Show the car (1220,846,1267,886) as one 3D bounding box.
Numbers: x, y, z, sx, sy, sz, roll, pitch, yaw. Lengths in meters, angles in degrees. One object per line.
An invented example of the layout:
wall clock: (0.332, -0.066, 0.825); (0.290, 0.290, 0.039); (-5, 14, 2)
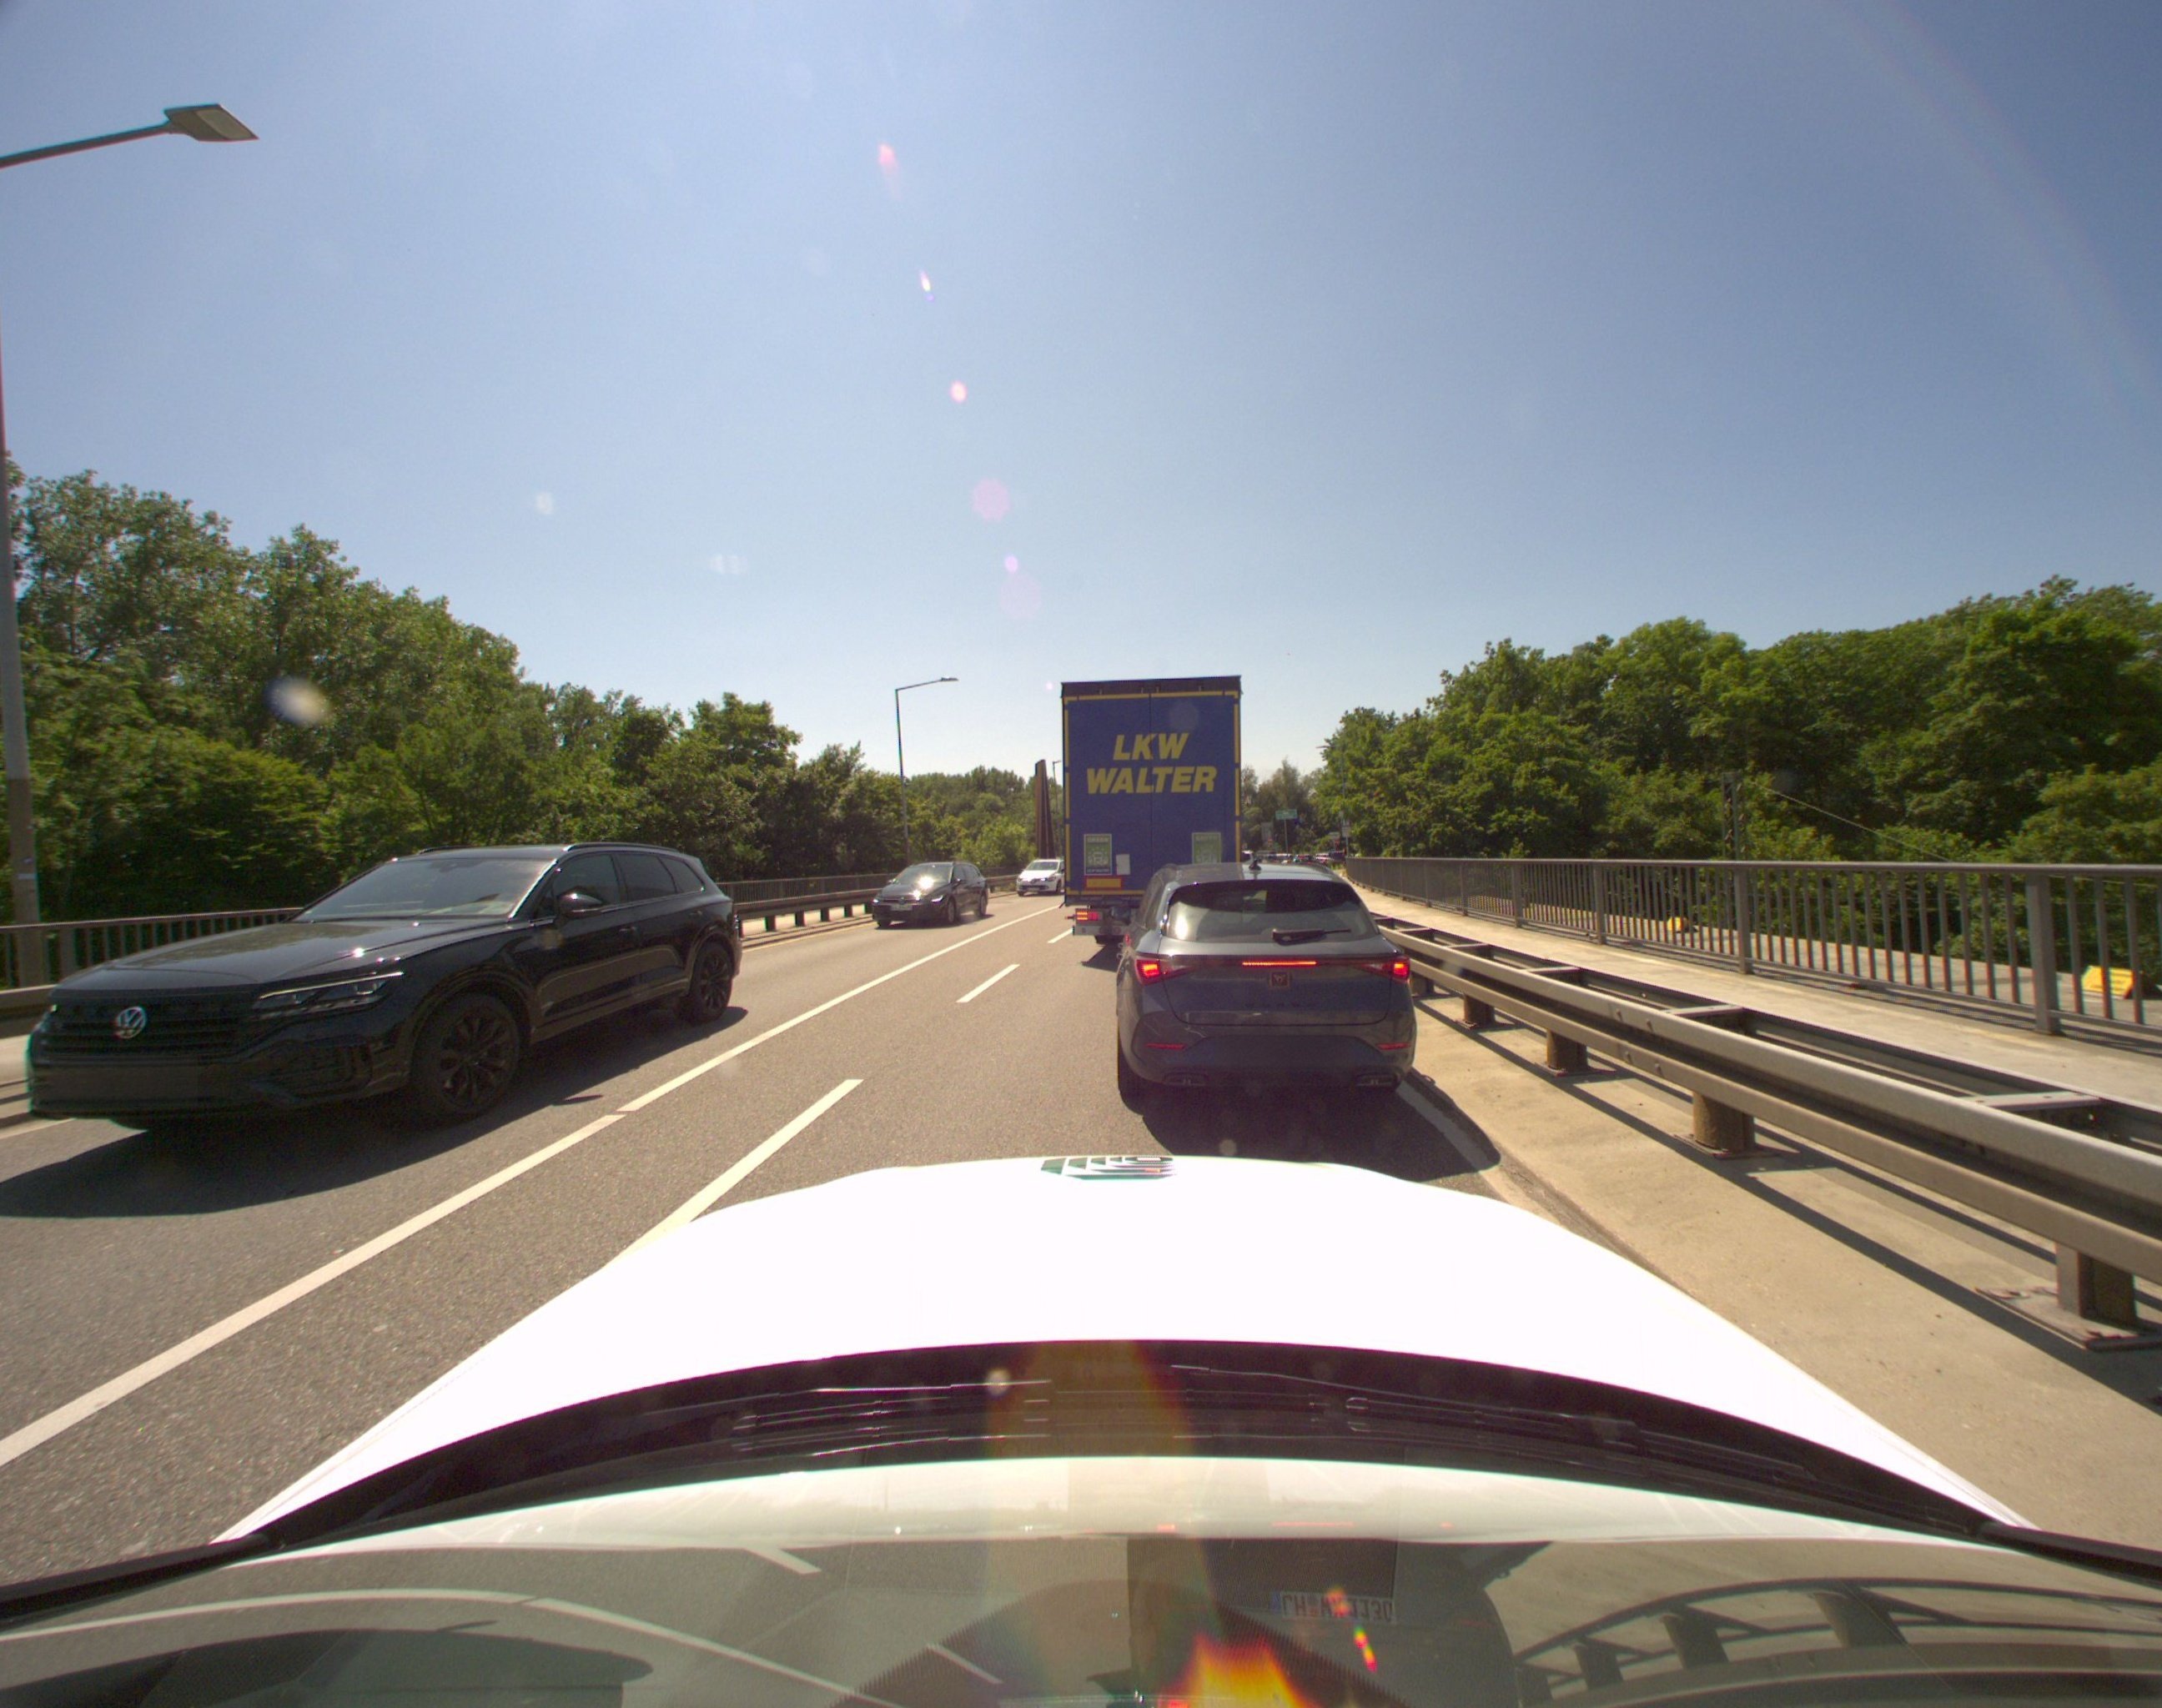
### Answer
car: (8.226, 0.568, 40.932); (1.706, 1.844, 4.020); (-1, 0, 20)

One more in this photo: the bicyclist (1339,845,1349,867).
bicyclist: (20.630, 0.130, 63.820); (0.574, 1.683, 0.731); (-4, -1, 11)

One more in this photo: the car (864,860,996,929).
car: (-3.582, 0.912, 20.216); (1.699, 1.469, 4.472); (-1, 0, 10)

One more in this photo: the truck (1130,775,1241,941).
truck: (3.335, 0.125, 25.100); (2.887, 4.418, 6.573); (-1, 0, 10)

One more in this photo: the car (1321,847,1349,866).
car: (24.968, 0.218, 79.928); (1.669, 1.760, 4.025); (-2, -1, 30)

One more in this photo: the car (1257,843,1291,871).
car: (13.273, 0.190, 55.764); (1.706, 1.844, 4.021); (-1, 0, 21)

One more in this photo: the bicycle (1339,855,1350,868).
bicycle: (20.664, 0.579, 63.833); (0.578, 1.035, 1.489); (-4, -1, 12)

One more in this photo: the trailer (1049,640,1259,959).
trailer: (2.050, -0.755, 17.651); (2.887, 4.418, 12.466); (-1, 0, 10)

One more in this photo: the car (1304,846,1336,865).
car: (21.762, 0.145, 74.074); (1.975, 1.575, 4.024); (0, -1, 28)

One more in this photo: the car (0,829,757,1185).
car: (-4.502, 0.752, 6.238); (1.958, 1.673, 4.617); (-2, 0, 3)

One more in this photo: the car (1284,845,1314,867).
car: (18.215, 0.149, 67.876); (1.670, 1.760, 4.023); (-1, -1, 25)

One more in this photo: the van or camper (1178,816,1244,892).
van or camper: (5.488, -0.004, 33.622); (2.139, 2.815, 6.411); (-1, 0, 14)

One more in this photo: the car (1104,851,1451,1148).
car: (1.111, 0.733, 6.023); (1.669, 1.456, 3.963); (-1, 0, 4)

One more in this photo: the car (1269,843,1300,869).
car: (15.349, 0.122, 61.289); (1.706, 1.844, 4.021); (-1, 0, 21)

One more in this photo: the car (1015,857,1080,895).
car: (-1.313, 0.868, 33.909); (1.588, 1.449, 4.071); (-1, 0, 14)

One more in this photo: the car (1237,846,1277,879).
car: (10.256, 0.445, 47.207); (1.706, 1.802, 4.020); (-1, 0, 20)
